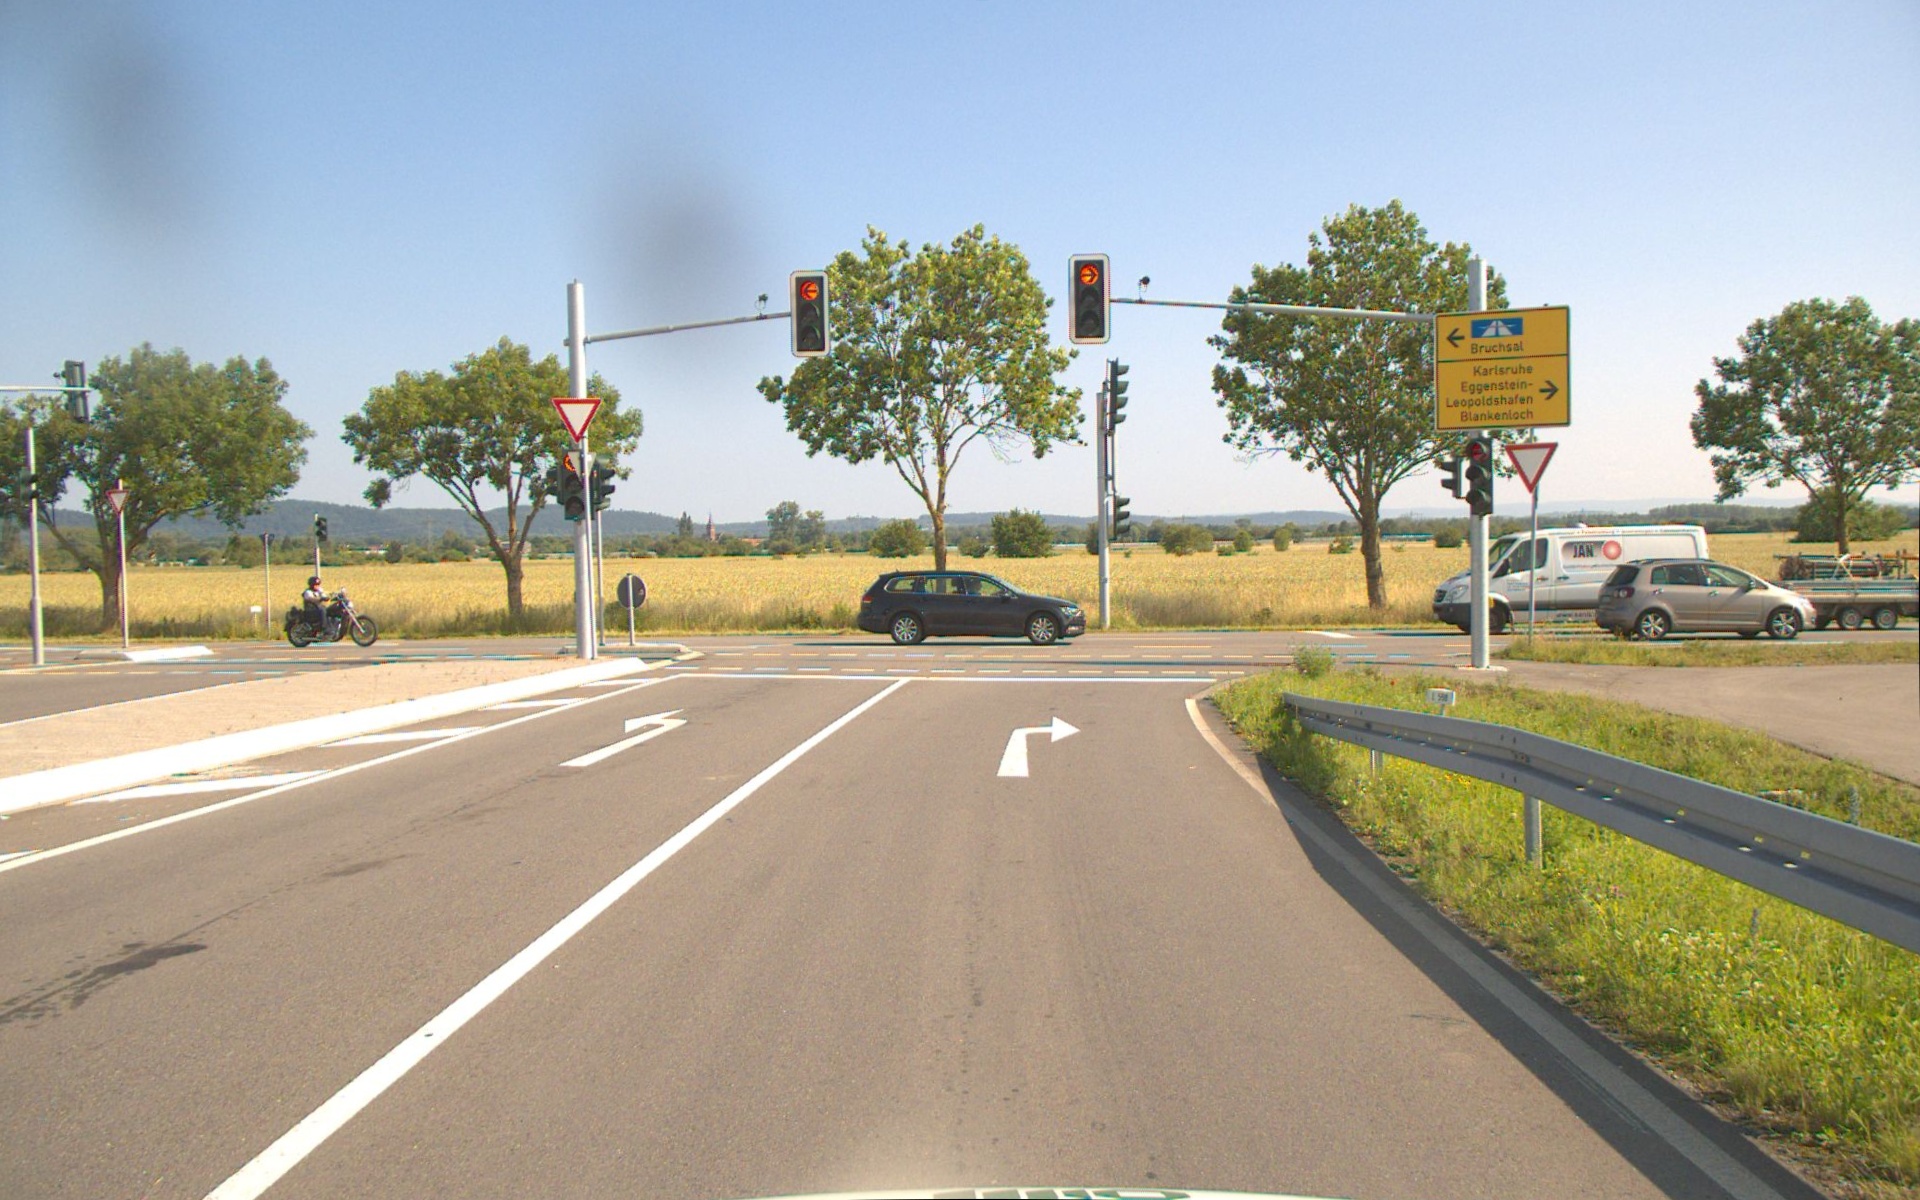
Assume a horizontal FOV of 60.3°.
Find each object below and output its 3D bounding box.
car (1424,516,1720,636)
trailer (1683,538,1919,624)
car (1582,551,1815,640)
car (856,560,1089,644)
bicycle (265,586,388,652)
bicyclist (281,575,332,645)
[{"bbox_3d":[13.507,-0.536,36.787,5.832,2.536,2.001,1,0,3],"label":"car"},{"bbox_3d":[18.971,-0.425,36.495,5.151,1.783,1.954,-1,1,3],"label":"trailer"},{"bbox_3d":[14.695,-0.094,33.067,3.873,1.697,1.764,1,0,1],"label":"car"},{"bbox_3d":[0.302,0.013,33.651,4.574,1.545,1.923,-1,3,4],"label":"car"},{"bbox_3d":[-14.011,0.415,36.617,2.440,1.421,0.732,1,0,-1],"label":"bicycle"},{"bbox_3d":[-14.437,0.210,36.560,0.791,1.515,0.757,1,0,1],"label":"bicyclist"}]
